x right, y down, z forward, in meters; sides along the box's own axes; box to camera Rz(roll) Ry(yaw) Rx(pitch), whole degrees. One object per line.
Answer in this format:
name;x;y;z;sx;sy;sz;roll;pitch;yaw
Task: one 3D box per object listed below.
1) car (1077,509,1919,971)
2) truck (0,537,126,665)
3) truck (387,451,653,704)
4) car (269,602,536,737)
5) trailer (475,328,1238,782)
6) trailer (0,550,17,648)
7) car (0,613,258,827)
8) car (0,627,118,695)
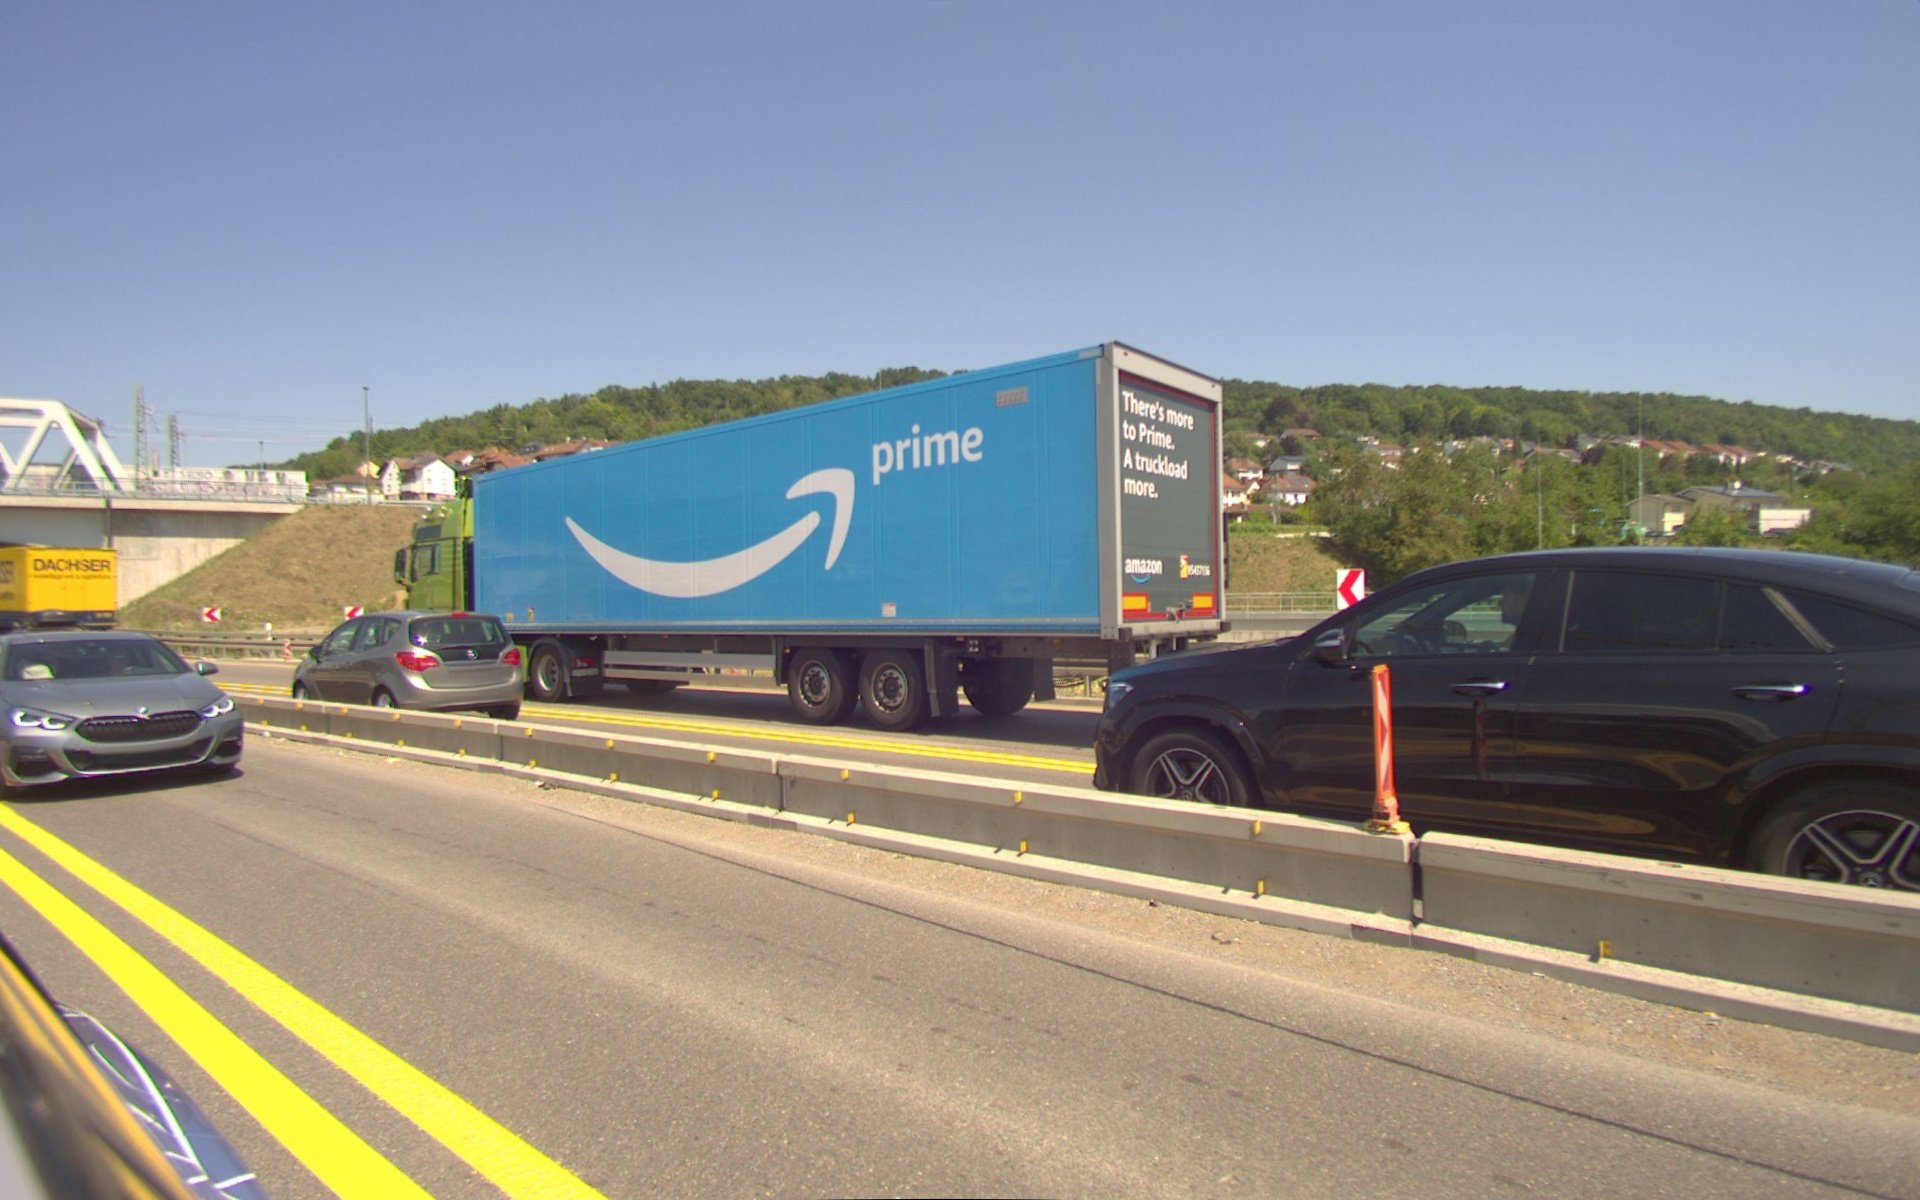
car;3.093;0.510;5.188;4.713;1.659;1.861;-2;0;42
truck;-37.473;0.041;39.991;15.335;4.375;2.783;0;1;34
truck;-8.582;-0.408;19.651;4.722;4.302;2.602;0;2;36
car;-7.950;0.896;14.270;4.296;1.597;1.802;-2;0;39
trailer;-2.741;-0.449;14.957;13.298;4.324;2.621;0;2;40
trailer;-44.340;-0.025;44.749;5.206;4.261;2.841;0;1;35
car;-8.647;0.962;9.853;4.384;1.609;1.816;-1;0;39
car;-22.702;1.459;25.000;4.573;1.446;1.805;-2;0;36
